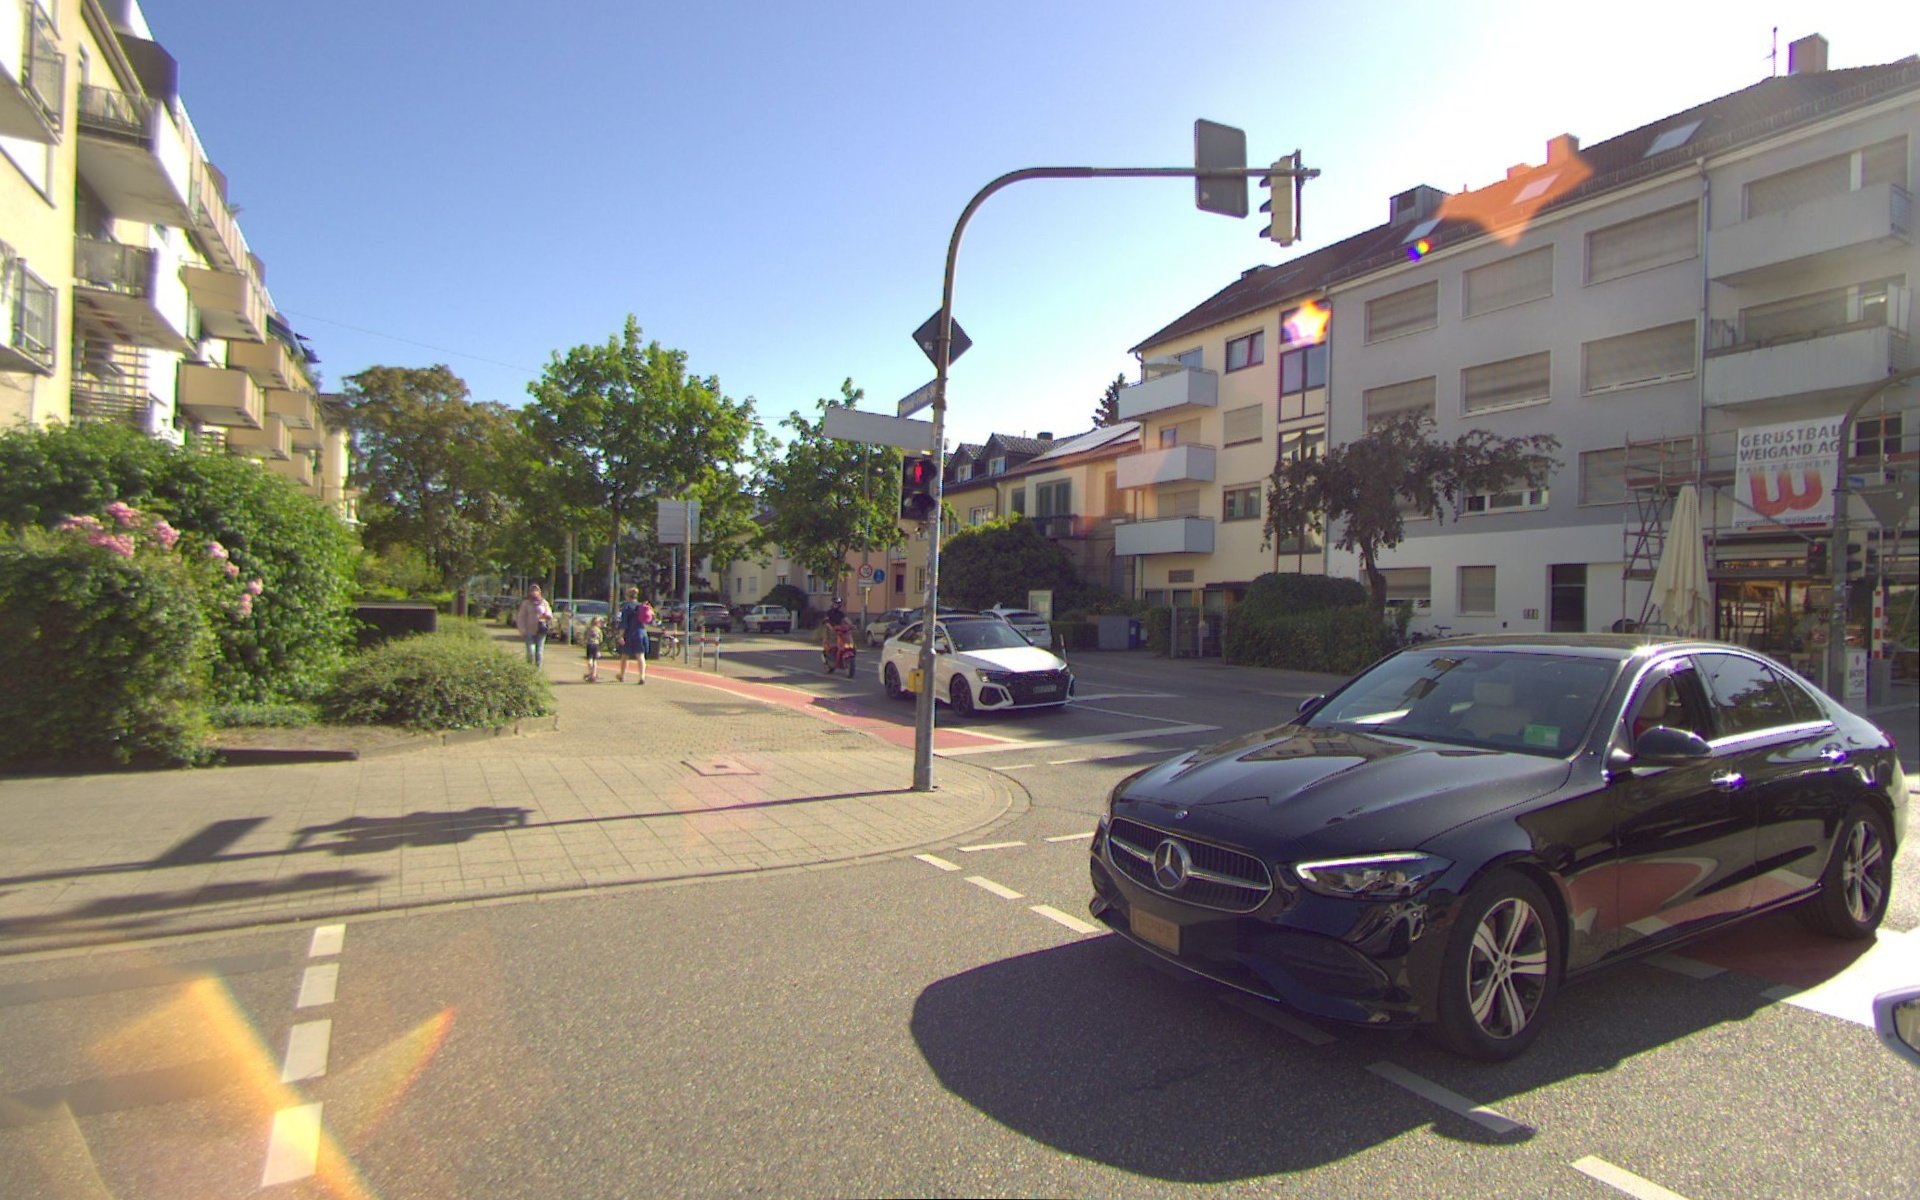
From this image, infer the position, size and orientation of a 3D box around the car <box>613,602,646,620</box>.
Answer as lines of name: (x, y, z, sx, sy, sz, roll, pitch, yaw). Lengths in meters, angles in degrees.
car: (-28.372, 0.946, 86.130, 1.893, 1.449, 3.969, -1, 1, -29)

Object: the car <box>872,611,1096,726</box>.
car: (0.235, 0.994, 16.550, 1.909, 1.455, 4.238, -2, 2, -27)

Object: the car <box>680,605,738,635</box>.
car: (-12.936, 1.029, 51.561, 1.822, 1.453, 4.142, 1, -1, -30)

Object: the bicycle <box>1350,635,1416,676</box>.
bicycle: (10.633, 1.379, 25.295, 0.506, 0.952, 1.583, 1, -1, -27)

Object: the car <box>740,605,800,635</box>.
car: (-9.883, 0.996, 51.979, 1.893, 1.449, 3.969, -1, 1, -29)

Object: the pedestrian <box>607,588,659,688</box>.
pedestrian: (-5.799, 0.656, 17.783, 0.570, 1.705, 0.958, 1, 0, -38)

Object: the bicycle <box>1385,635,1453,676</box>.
bicycle: (11.515, 1.378, 25.220, 0.506, 0.952, 1.583, 1, -1, -27)

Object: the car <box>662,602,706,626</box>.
car: (-18.326, 0.899, 66.691, 1.893, 1.449, 3.969, -1, 1, -29)

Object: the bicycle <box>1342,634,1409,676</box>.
bicycle: (10.210, 1.340, 24.734, 0.506, 0.952, 1.583, 1, -1, -27)

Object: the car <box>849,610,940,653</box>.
car: (-2.509, 1.123, 37.790, 1.893, 1.449, 3.969, -1, 1, -29)

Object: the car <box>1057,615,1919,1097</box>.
car: (2.769, 0.832, 4.869, 4.372, 1.431, 1.797, 1, -2, -29)

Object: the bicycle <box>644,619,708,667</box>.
bicycle: (-7.536, 1.133, 26.725, 1.550, 1.177, 0.447, 1, 14, -7)

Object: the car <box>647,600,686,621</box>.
car: (-21.176, 0.758, 72.407, 1.893, 1.449, 3.969, -1, 1, -29)

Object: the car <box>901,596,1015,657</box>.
car: (-0.132, 0.749, 28.468, 1.577, 1.586, 4.061, 2, -2, -27)

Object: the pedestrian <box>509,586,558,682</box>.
pedestrian: (-7.426, 0.583, 17.488, 0.688, 1.617, 0.642, 1, 0, -31)

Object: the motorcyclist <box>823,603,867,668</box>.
motorcyclist: (-2.520, 0.766, 21.985, 0.747, 1.374, 0.787, -1, 1, -26)

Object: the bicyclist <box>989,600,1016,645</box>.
bicyclist: (1.498, 0.780, 35.336, 0.548, 1.569, 0.808, 1, 0, -30)

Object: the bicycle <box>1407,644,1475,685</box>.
bicycle: (12.202, 1.620, 25.532, 0.506, 0.952, 1.583, 1, -1, -27)

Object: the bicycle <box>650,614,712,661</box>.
bicycle: (-7.583, 1.013, 27.347, 1.550, 1.177, 0.447, 1, 14, -7)

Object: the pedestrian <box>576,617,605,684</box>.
pedestrian: (-6.527, 0.886, 17.740, 0.382, 1.161, 0.527, 1, 0, -31)

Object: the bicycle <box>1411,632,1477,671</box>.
bicycle: (12.635, 1.325, 26.272, 0.506, 0.952, 1.583, 1, -1, -27)

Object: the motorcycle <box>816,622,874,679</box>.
motorcycle: (-2.545, 1.075, 22.022, 0.739, 1.149, 1.672, -1, 0, -26)

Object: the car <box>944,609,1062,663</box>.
car: (1.272, 1.069, 31.454, 1.893, 1.539, 3.969, 0, 0, -29)
